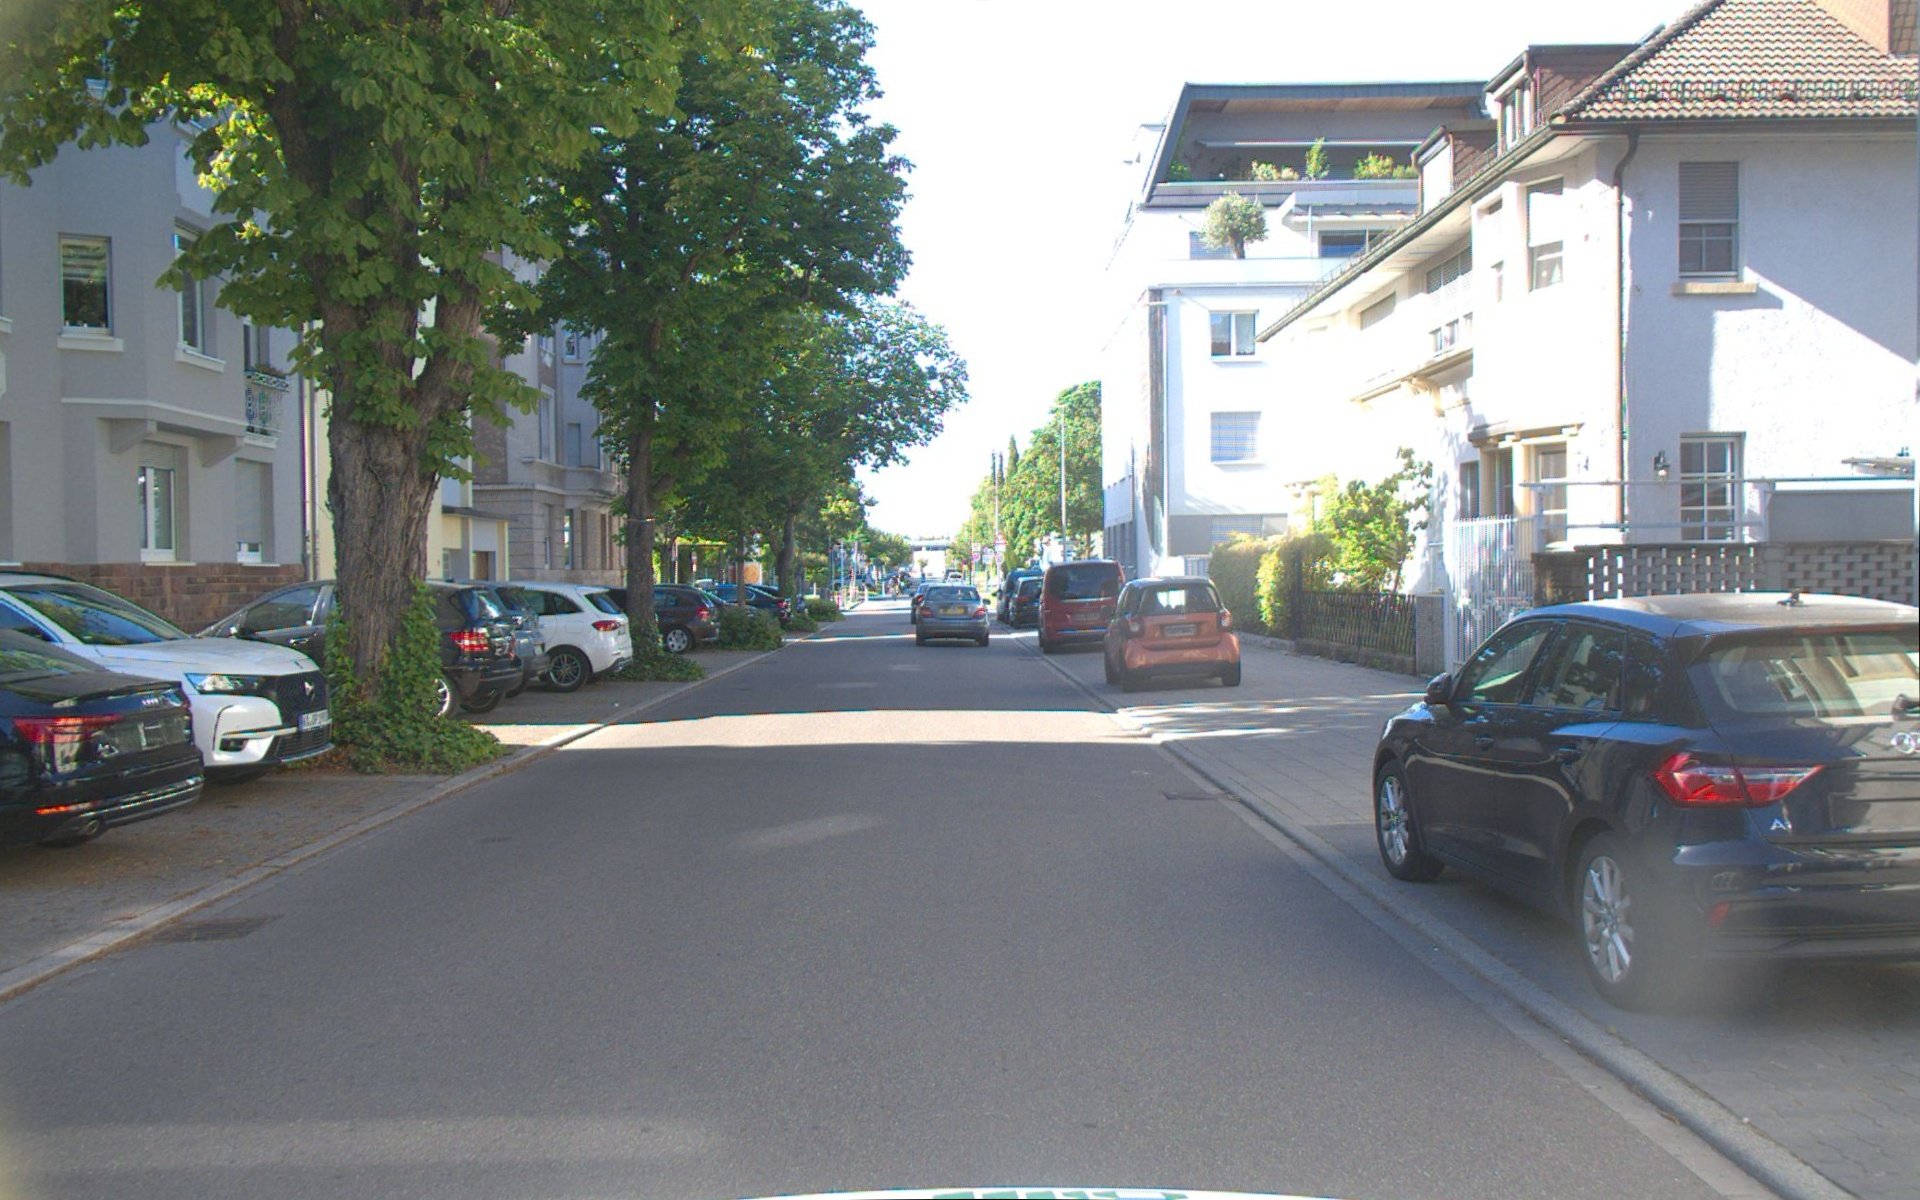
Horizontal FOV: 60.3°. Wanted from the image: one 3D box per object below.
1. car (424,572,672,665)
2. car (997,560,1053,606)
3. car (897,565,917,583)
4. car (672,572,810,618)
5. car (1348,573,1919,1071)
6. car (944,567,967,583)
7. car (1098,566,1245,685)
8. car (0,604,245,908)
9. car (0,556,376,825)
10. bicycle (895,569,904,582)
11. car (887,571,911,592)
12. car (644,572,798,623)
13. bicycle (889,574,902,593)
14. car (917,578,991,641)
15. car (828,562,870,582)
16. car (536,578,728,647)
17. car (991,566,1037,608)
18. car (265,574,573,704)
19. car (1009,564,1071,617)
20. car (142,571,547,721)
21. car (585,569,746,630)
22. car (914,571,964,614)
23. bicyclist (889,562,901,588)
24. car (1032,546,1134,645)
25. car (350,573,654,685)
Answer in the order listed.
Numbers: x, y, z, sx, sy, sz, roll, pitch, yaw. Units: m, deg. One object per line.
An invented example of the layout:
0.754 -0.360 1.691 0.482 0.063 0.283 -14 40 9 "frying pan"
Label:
-6.909 0.312 28.105 3.950 1.469 1.795 1 0 -11 "car"
2.288 -0.582 58.824 1.648 1.459 4.265 -5 0 -1 "car"
-5.404 -2.619 168.959 1.752 1.559 3.995 -4 -1 -5 "car"
-7.223 -0.155 54.829 4.384 1.505 1.867 0 0 -3 "car"
3.073 0.677 7.280 1.587 1.464 3.933 -4 1 -2 "car"
-0.450 -2.279 147.899 1.689 1.353 3.996 -2 1 -5 "car"
2.966 0.312 23.726 1.560 1.506 3.247 -3 1 -1 "car"
-6.317 0.835 9.184 3.906 1.494 1.697 -1 1 -2 "car"
-6.716 0.632 11.898 4.296 1.680 1.823 -2 2 0 "car"
-4.596 -1.855 124.943 0.577 0.948 1.850 -1 1 0 "bicycle"
-5.403 -1.668 145.304 1.836 1.758 3.996 -1 1 -5 "car"
-7.077 -0.072 49.380 4.384 1.505 1.867 0 0 -3 "car"
-3.988 -1.026 101.923 0.705 1.097 1.891 -2 1 0 "bicycle"
-0.128 0.218 40.093 1.691 1.445 3.960 1 0 0 "car"
-9.409 -2.340 139.900 3.428 1.559 1.642 -2 1 -8 "car"
-7.213 0.260 36.659 3.906 1.446 1.771 0 2 -2 "car"
2.038 -0.497 63.264 1.532 1.435 3.730 -5 0 0 "car"
-7.027 0.481 21.727 3.442 1.602 1.771 0 1 2 "car"
2.525 -0.340 53.004 1.701 1.558 4.178 -2 1 -1 "car"
-6.978 0.486 19.057 3.904 1.602 1.981 0 1 2 "car"
-7.744 -0.019 43.848 4.094 1.526 1.996 1 0 -8 "car"
-0.773 -0.260 58.838 1.672 1.473 4.201 1 0 -1 "car"
-4.005 -1.557 101.888 0.706 1.563 1.137 -2 1 -1 "bicyclist"
2.627 -0.117 36.427 1.833 1.938 5.197 -2 0 0 "car"
-6.625 0.401 24.221 3.941 1.510 1.806 1 1 -2 "car"
